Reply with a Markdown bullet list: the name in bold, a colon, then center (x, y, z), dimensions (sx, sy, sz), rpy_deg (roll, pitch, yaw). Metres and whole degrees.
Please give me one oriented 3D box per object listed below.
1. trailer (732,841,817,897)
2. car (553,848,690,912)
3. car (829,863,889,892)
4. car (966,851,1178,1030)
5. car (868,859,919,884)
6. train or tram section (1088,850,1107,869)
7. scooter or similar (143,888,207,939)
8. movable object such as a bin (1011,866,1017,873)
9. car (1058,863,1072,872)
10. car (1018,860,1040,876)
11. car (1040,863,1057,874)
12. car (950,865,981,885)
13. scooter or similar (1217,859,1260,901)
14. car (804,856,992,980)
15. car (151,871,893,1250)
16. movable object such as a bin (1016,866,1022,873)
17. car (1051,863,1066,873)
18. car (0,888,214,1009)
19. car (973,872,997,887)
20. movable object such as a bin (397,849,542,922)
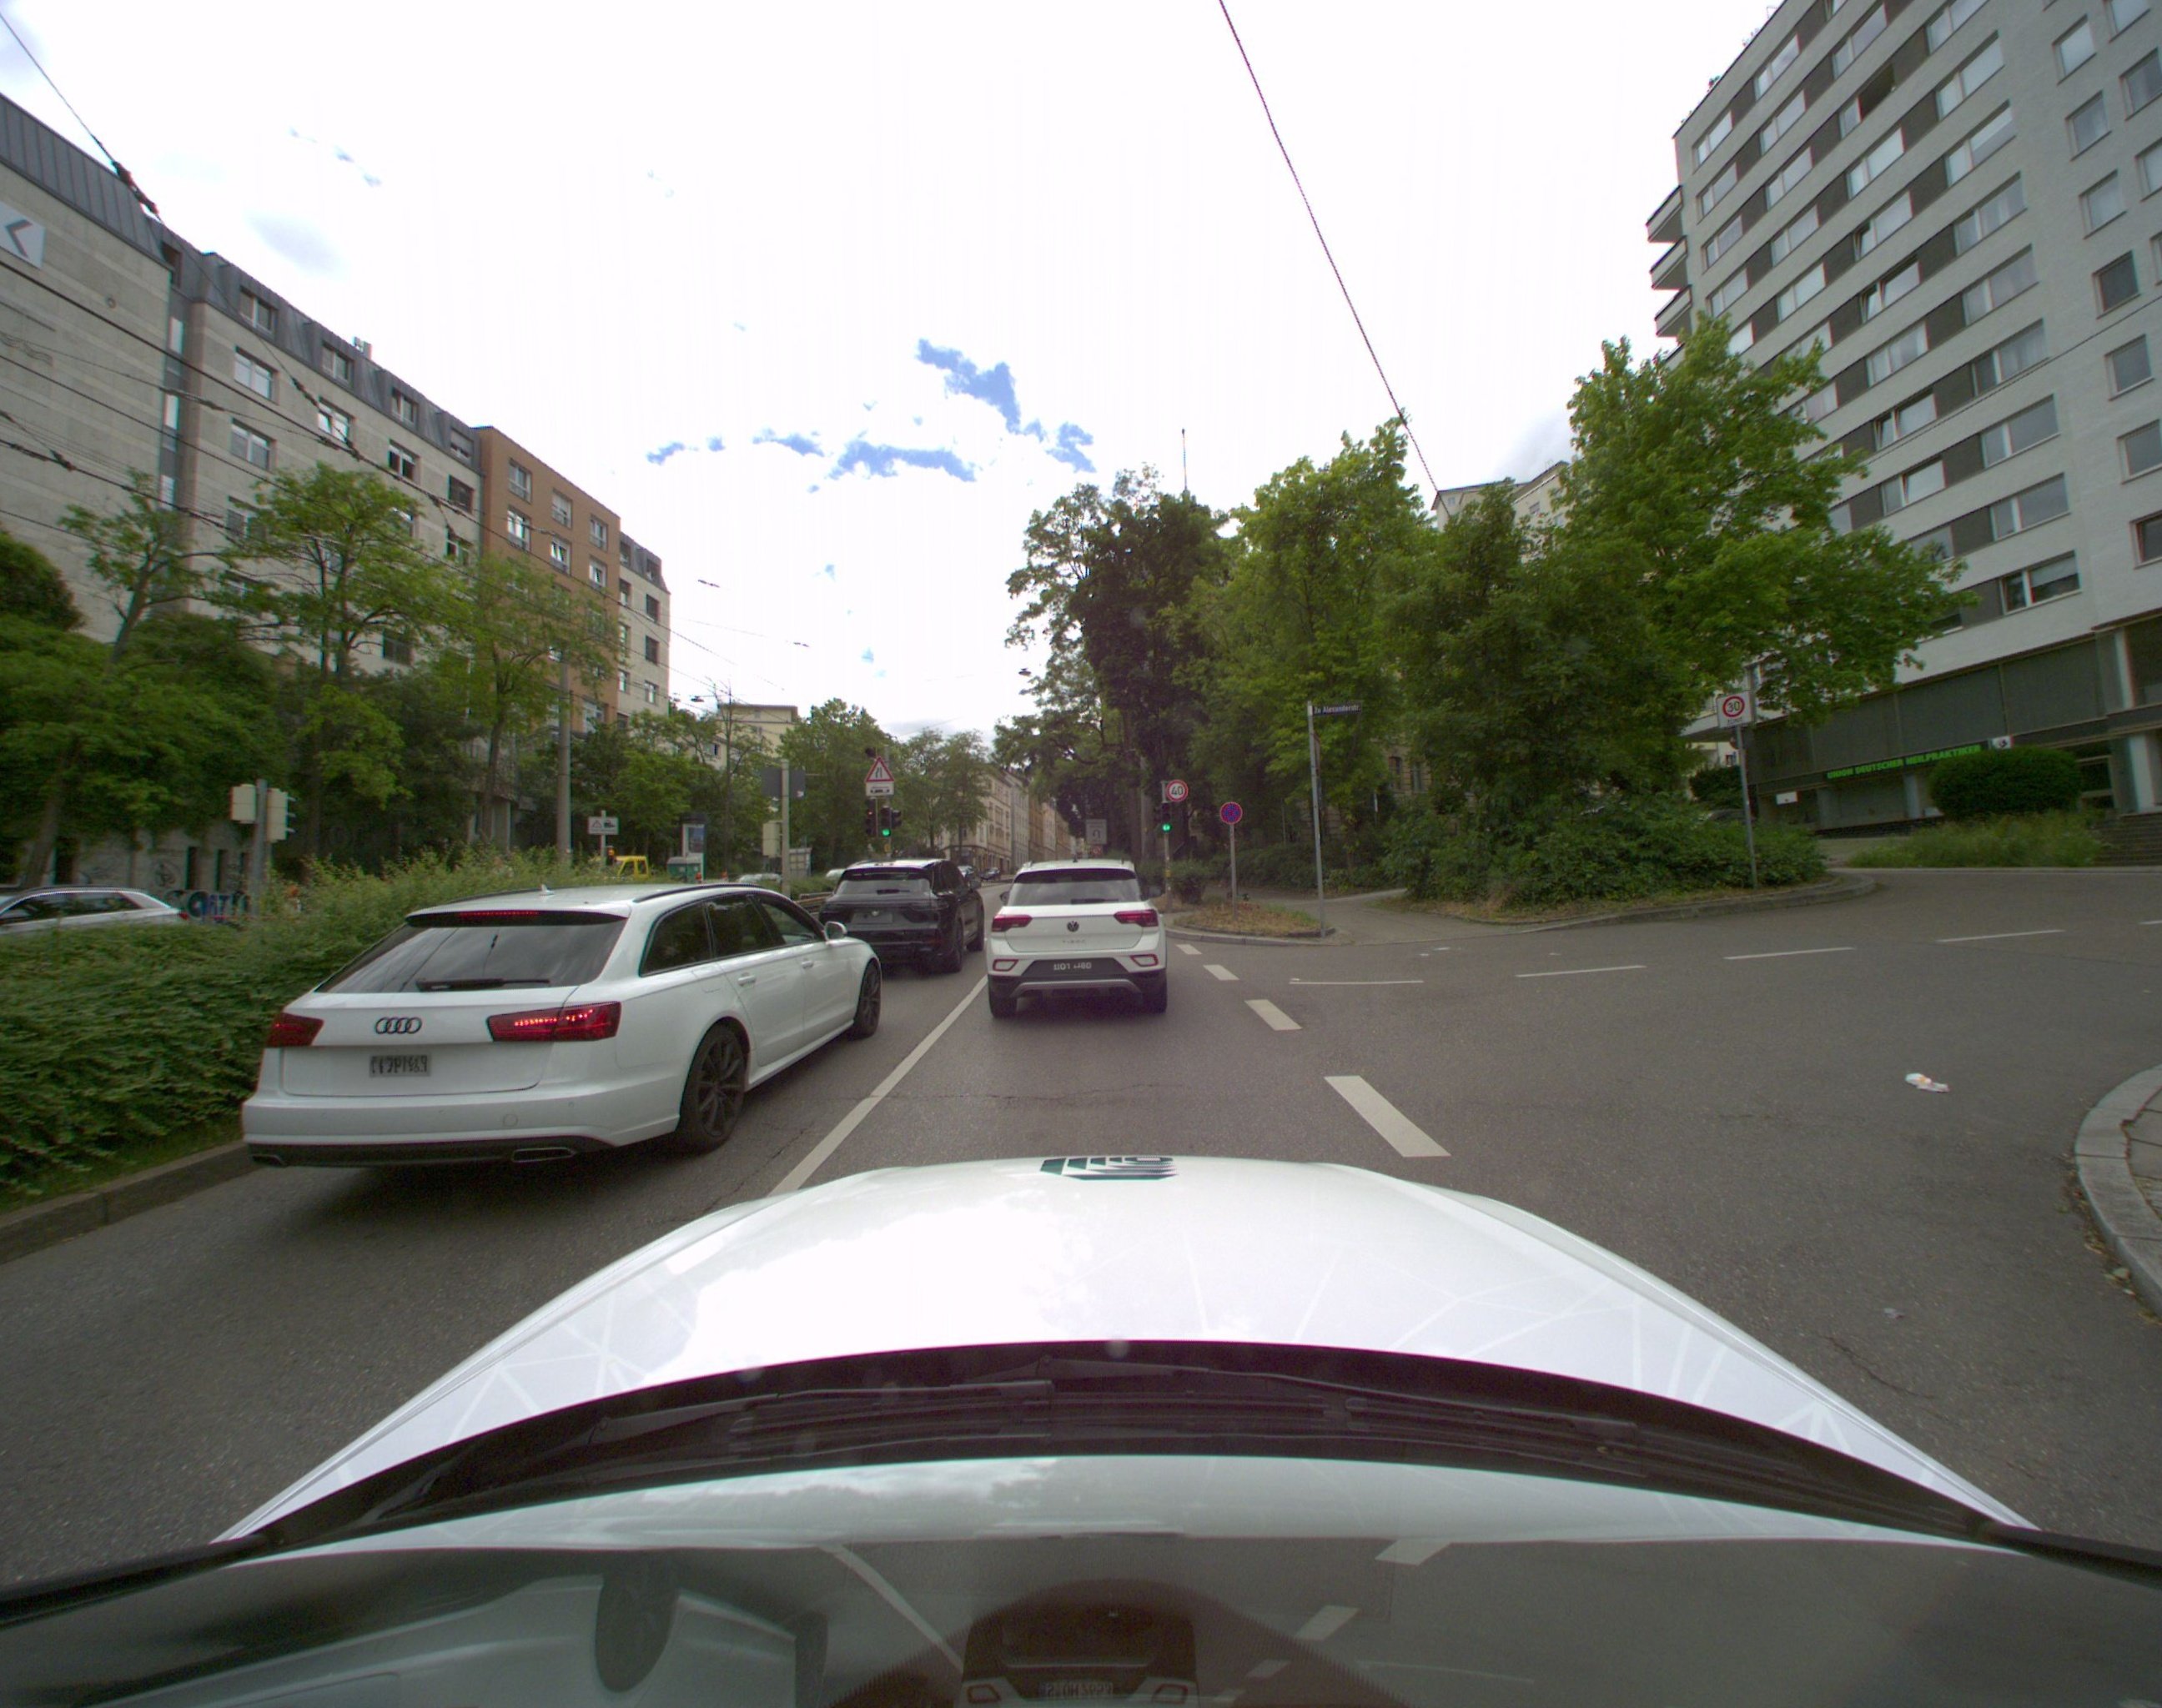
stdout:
- **trailer**: center (-17.121, 0.820, 45.852), dimensions (2.007, 2.973, 5.603), rpy_deg (0, -1, 9)
- **car**: center (-20.758, 1.100, 37.274), dimensions (2.146, 2.594, 6.344), rpy_deg (-2, 0, 5)
- **car**: center (-13.919, 1.446, 51.356), dimensions (1.983, 1.605, 4.628), rpy_deg (-2, 0, 6)
- **car**: center (-0.037, 0.805, 9.391), dimensions (1.872, 1.554, 4.001), rpy_deg (-2, -1, 1)
- **car**: center (-13.102, 1.190, 57.229), dimensions (1.983, 1.605, 4.618), rpy_deg (-2, 0, 6)
- **train or tram section**: center (3.565, 1.201, 171.661), dimensions (2.868, 3.726, 14.879), rpy_deg (0, -1, 6)
- **scooter or similar**: center (-24.652, 1.605, 22.185), dimensions (0.427, 1.289, 1.288), rpy_deg (-2, 0, -9)
- **movable object such as a bin**: center (-10.484, 2.408, 127.202), dimensions (0.683, 1.074, 0.678), rpy_deg (-2, -1, 7)
- **car**: center (-2.767, 2.337, 143.244), dimensions (1.984, 1.552, 4.005), rpy_deg (-2, -1, 5)
- **car**: center (-6.893, 1.850, 108.625), dimensions (1.937, 1.946, 5.011), rpy_deg (-2, 0, 6)
- **car**: center (-4.900, 2.177, 123.614), dimensions (1.984, 1.552, 4.005), rpy_deg (-2, -1, 5)
- **car**: center (-10.413, 1.903, 73.673), dimensions (1.986, 1.618, 4.002), rpy_deg (-3, -1, 2)
- **scooter or similar**: center (4.716, 0.771, 24.485), dimensions (0.631, 1.210, 1.550), rpy_deg (-2, -1, -14)
- **car**: center (-2.669, 0.869, 13.006), dimensions (2.032, 1.571, 4.356), rpy_deg (-2, -1, -1)
- **car**: center (-2.855, 0.902, 5.682), dimensions (1.872, 1.455, 4.618), rpy_deg (-2, -1, 1)
- **movable object such as a bin**: center (-10.003, 2.444, 131.422), dimensions (0.724, 1.074, 0.672), rpy_deg (-2, -1, 7)
- **car**: center (-3.631, 2.240, 131.693), dimensions (1.984, 1.552, 4.005), rpy_deg (-2, -1, 5)
- **car**: center (-15.637, 1.377, 11.916), dimensions (1.699, 1.567, 3.995), rpy_deg (-2, 0, -3)
- **car**: center (-10.076, 2.648, 85.606), dimensions (1.758, 1.408, 4.087), rpy_deg (-2, 0, 4)
- **movable object such as a bin**: center (-22.075, 1.083, 29.630), dimensions (1.924, 2.467, 4.103), rpy_deg (0, 0, 5)
